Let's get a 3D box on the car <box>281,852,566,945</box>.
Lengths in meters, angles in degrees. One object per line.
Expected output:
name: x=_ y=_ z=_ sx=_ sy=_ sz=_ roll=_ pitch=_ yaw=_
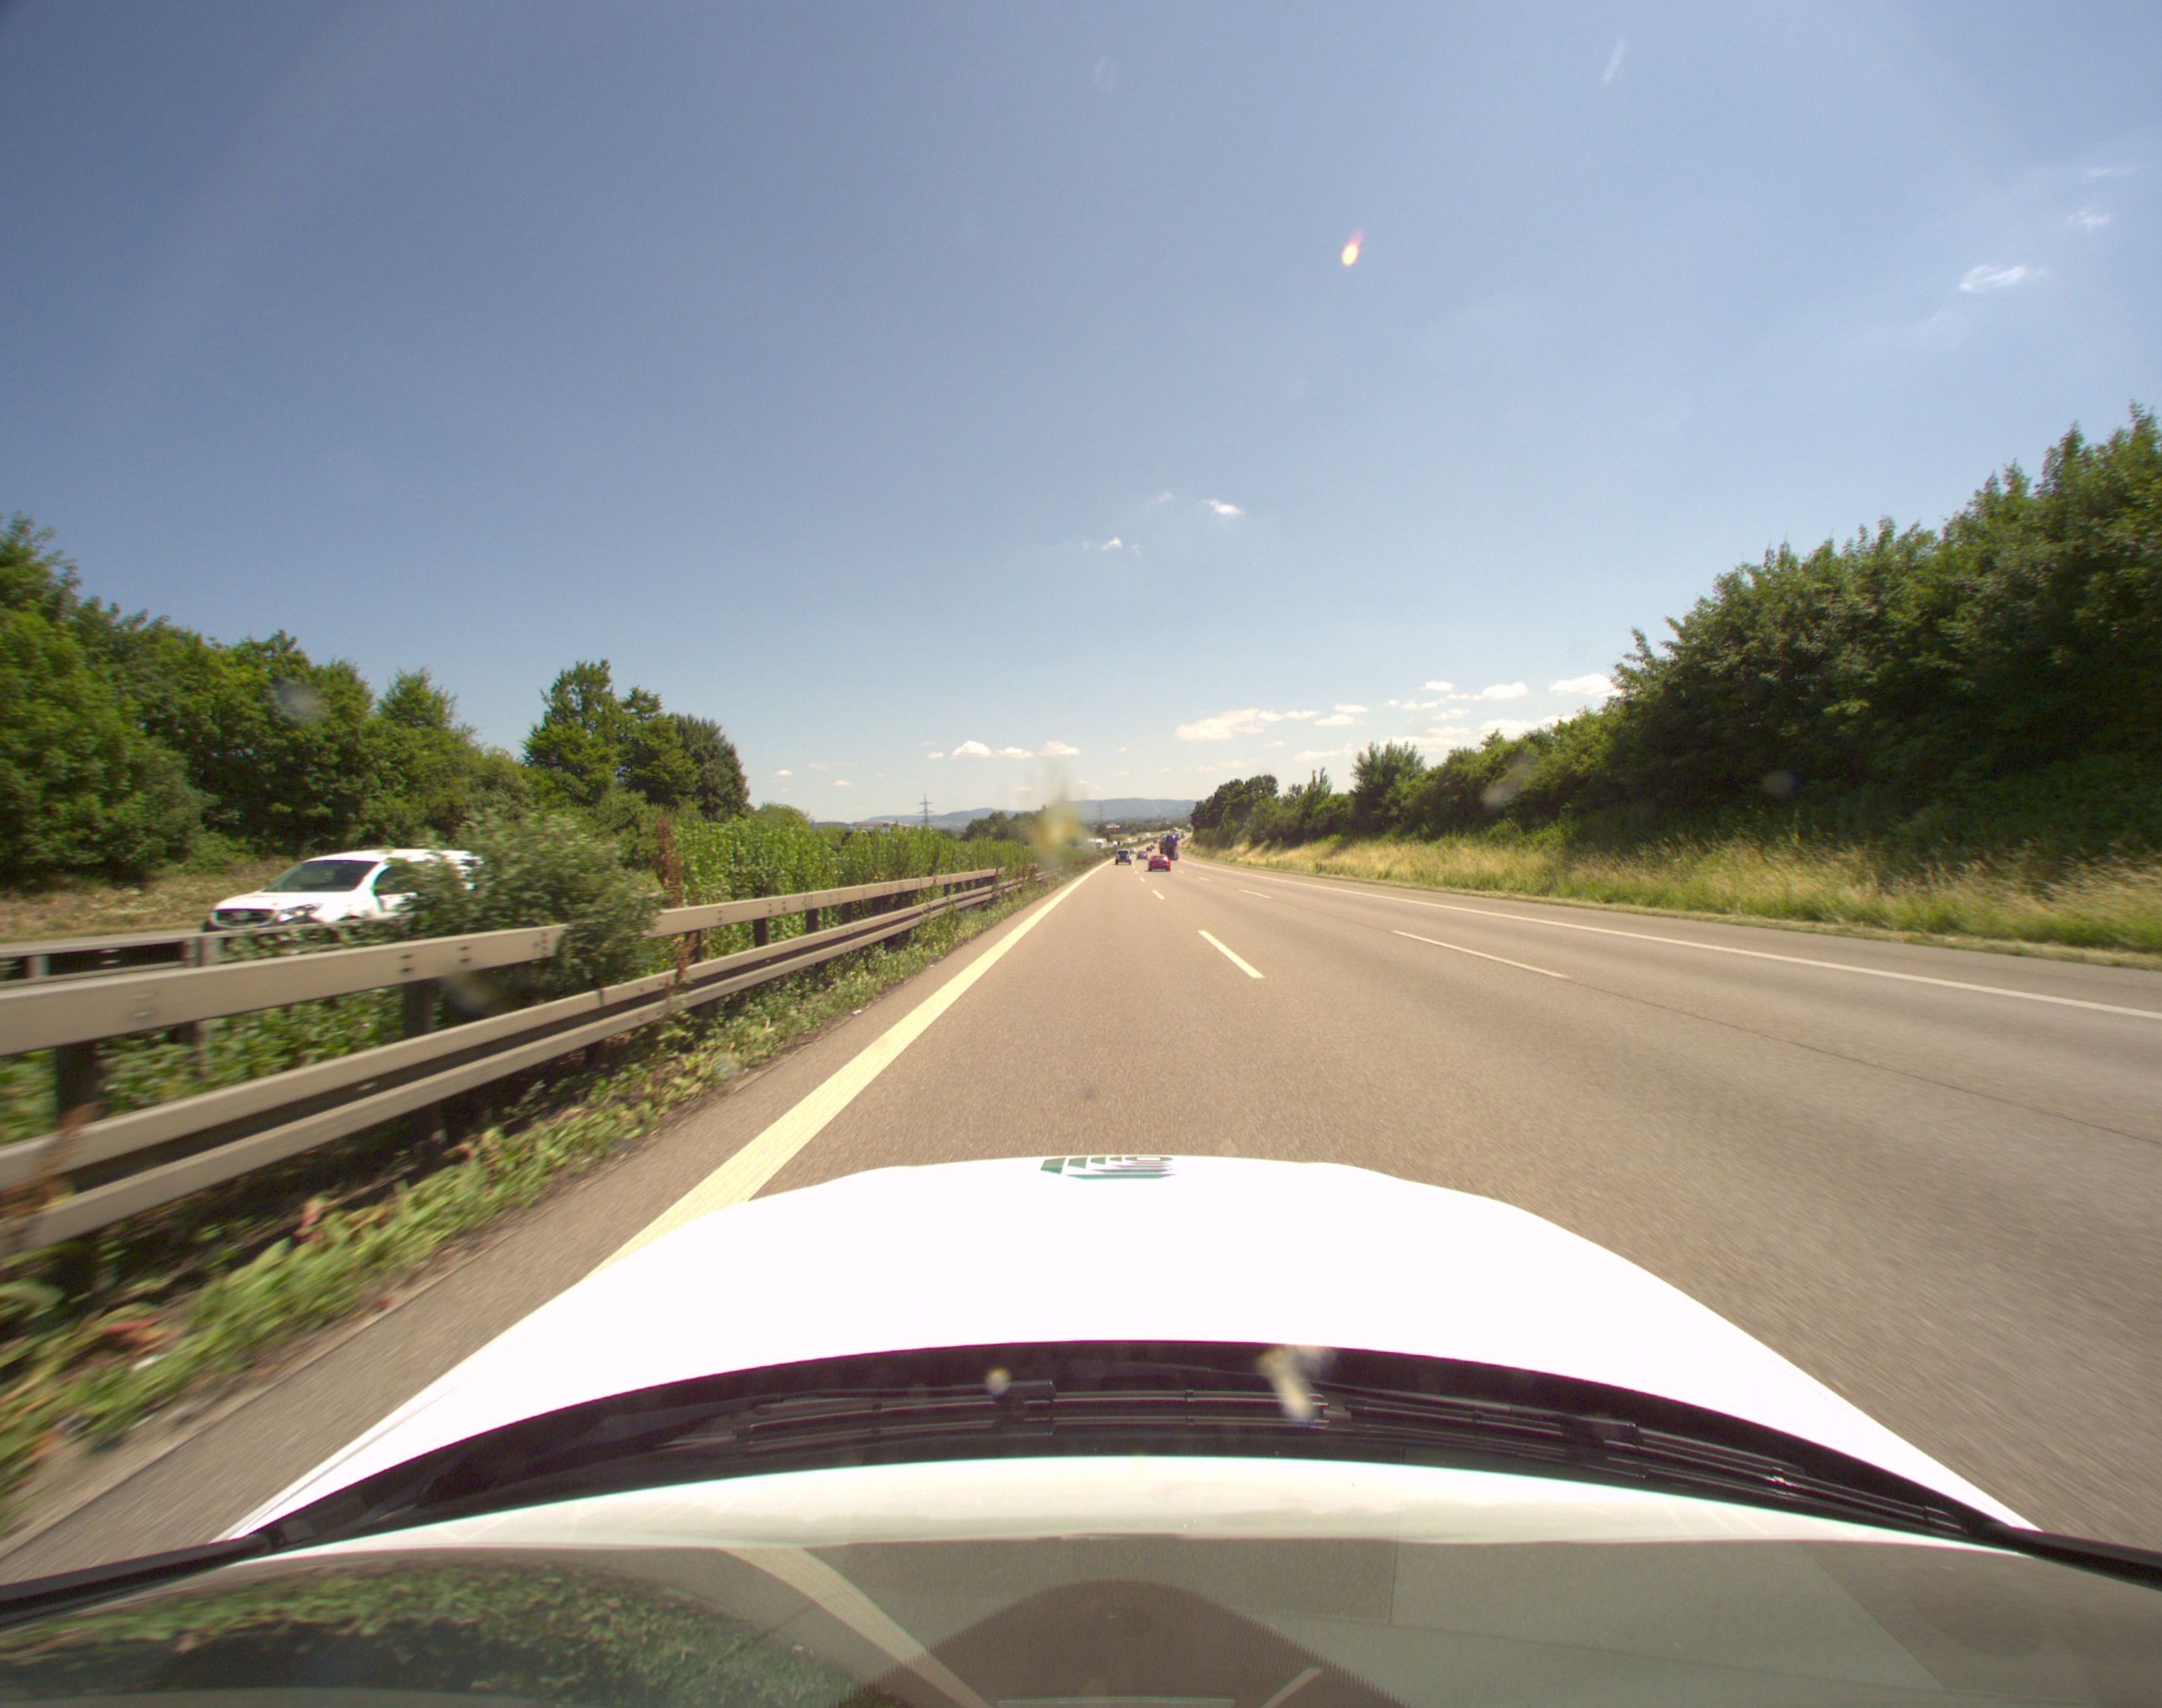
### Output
car: x=-12.417 y=0.753 z=15.899 sx=1.494 sy=1.514 sz=4.870 roll=0 pitch=0 yaw=2

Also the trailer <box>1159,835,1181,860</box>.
trailer: x=14.608 y=-1.169 z=135.074 sx=2.843 sy=3.993 sz=15.411 roll=0 pitch=1 yaw=3

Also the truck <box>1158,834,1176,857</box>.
truck: x=15.046 y=-1.506 z=142.756 sx=2.743 sy=3.852 sz=6.649 roll=0 pitch=1 yaw=3

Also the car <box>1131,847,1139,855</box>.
car: x=13.720 y=-0.678 z=205.543 sx=1.687 sy=2.013 sz=3.833 roll=0 pitch=1 yaw=10

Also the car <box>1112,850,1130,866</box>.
car: x=4.889 y=0.451 z=100.270 sx=2.076 sy=1.829 sz=4.755 roll=0 pitch=1 yaw=1

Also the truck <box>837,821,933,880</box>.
truck: x=-14.762 y=-0.256 z=63.422 sx=2.964 sy=4.013 sz=16.833 roll=0 pitch=0 yaw=2

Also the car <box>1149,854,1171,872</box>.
car: x=6.715 y=0.757 z=69.485 sx=1.679 sy=1.378 sz=3.950 roll=0 pitch=1 yaw=2

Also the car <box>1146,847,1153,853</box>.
car: x=19.525 y=-1.098 z=233.209 sx=1.625 sy=1.704 sz=3.411 roll=0 pitch=1 yaw=10

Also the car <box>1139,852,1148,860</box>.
car: x=10.558 y=0.276 z=138.034 sx=1.447 sy=1.267 sz=3.540 roll=0 pitch=1 yaw=1
